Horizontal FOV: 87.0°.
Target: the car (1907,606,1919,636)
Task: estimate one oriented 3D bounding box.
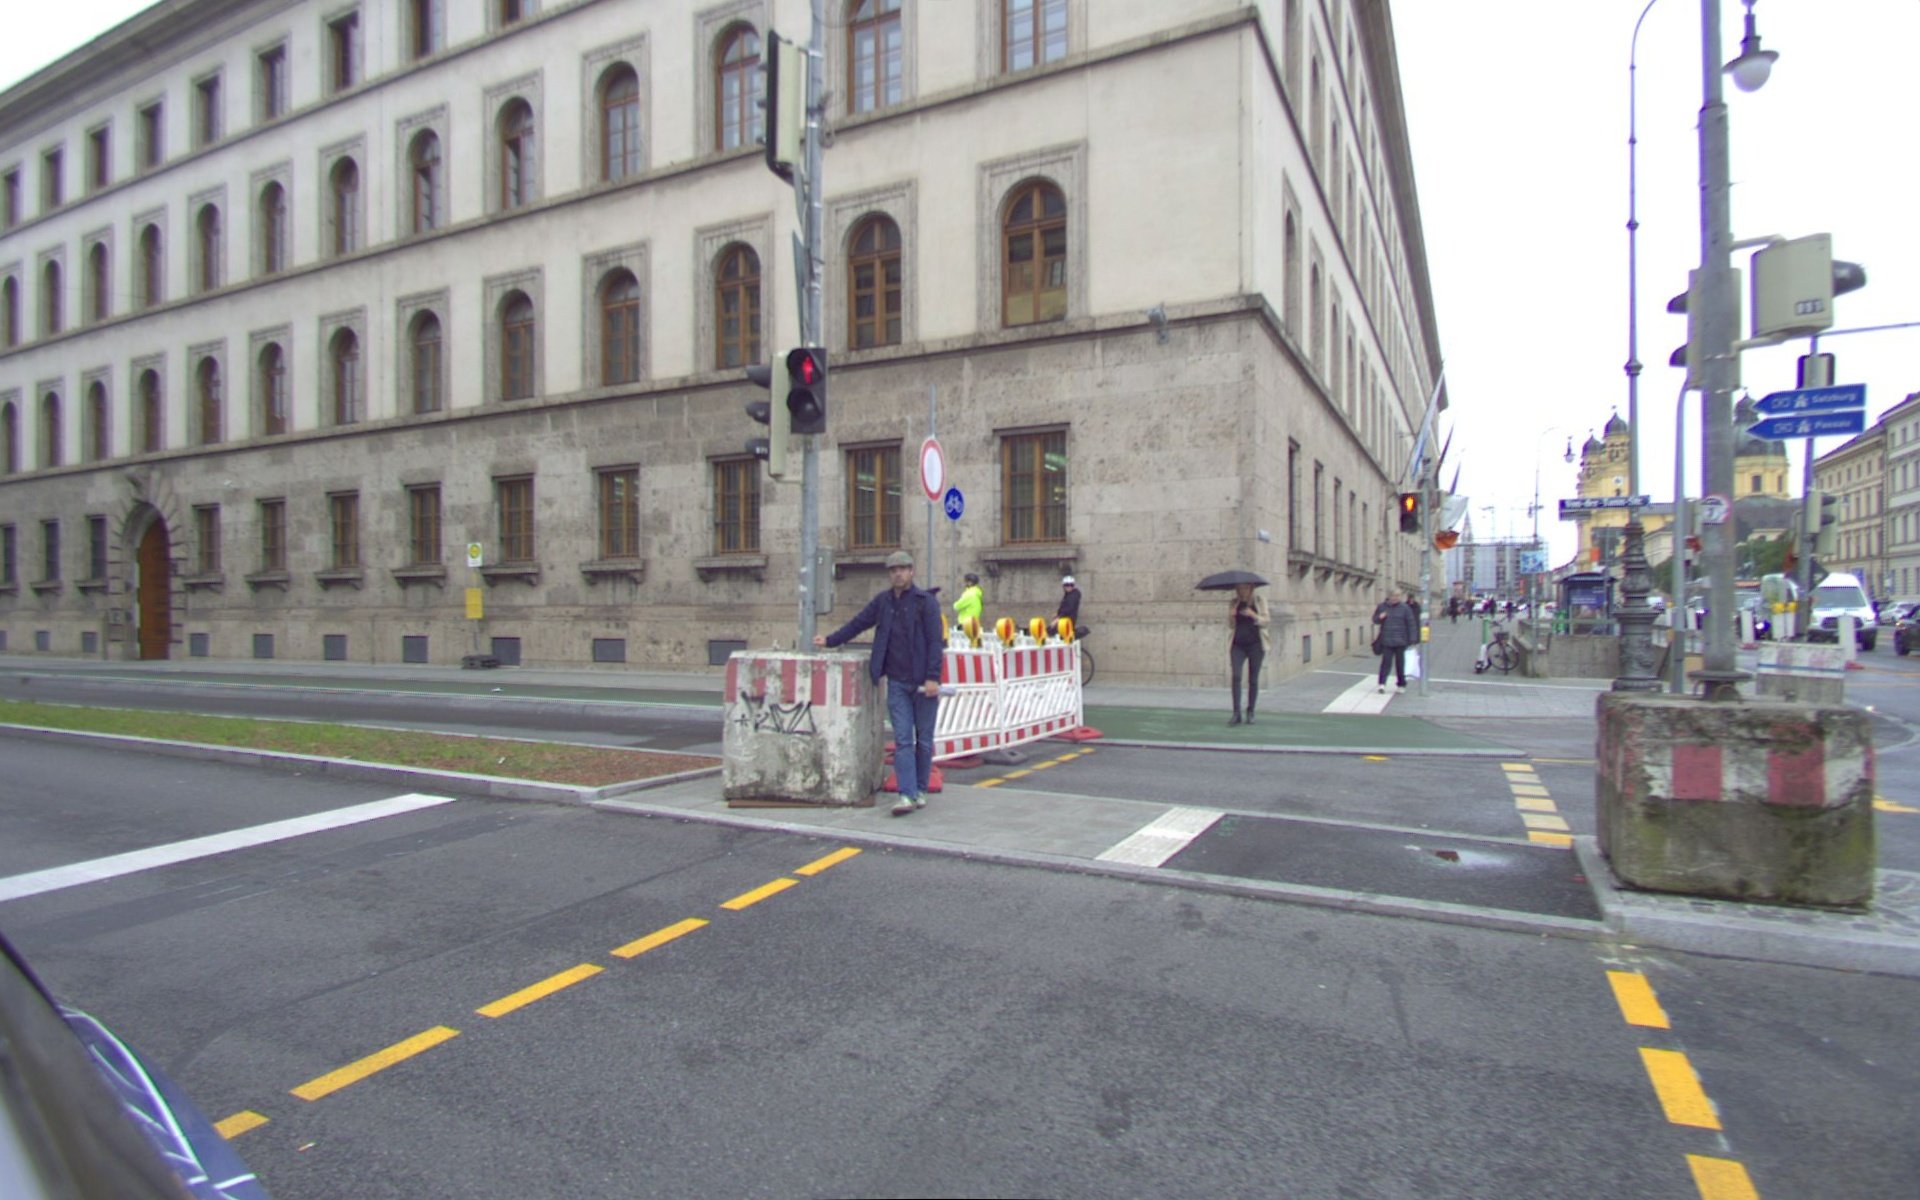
[{"bbox_3d":[55.855,1.189,57.575,1.814,1.733,3.963,-1,0,27],"label":"car"}]

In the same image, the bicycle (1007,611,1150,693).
[{"bbox_3d":[1.916,0.822,16.542,2.192,1.252,0.781,-1,1,32],"label":"bicycle"}]

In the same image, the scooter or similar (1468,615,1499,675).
[{"bbox_3d":[11.242,0.940,21.772,0.379,1.153,1.975,-1,1,21],"label":"scooter or similar"}]

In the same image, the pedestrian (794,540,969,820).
[{"bbox_3d":[-0.520,0.508,6.752,1.034,1.756,0.511,-1,0,18],"label":"pedestrian"}]

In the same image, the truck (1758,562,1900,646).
[{"bbox_3d":[28.424,0.124,33.359,2.105,2.499,5.808,-1,0,26],"label":"truck"}]

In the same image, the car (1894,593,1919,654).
[{"bbox_3d":[26.252,0.635,26.294,1.792,1.606,3.965,-1,1,26],"label":"car"}]

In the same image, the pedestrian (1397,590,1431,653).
[{"bbox_3d":[12.419,0.570,27.693,0.736,1.667,0.719,2,1,30],"label":"pedestrian"}]

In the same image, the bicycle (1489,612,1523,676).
[{"bbox_3d":[11.662,0.909,21.631,0.379,1.252,1.975,-1,1,21],"label":"bicycle"}]

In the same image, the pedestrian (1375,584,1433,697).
[{"bbox_3d":[6.840,0.600,15.589,0.735,1.667,0.720,2,1,25],"label":"pedestrian"}]

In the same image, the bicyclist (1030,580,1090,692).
[{"bbox_3d":[1.656,0.568,16.686,0.686,1.789,0.792,-1,1,31],"label":"bicyclist"}]

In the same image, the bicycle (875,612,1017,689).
[{"bbox_3d":[-0.265,0.853,17.659,2.441,1.252,0.781,-1,1,32],"label":"bicycle"}]

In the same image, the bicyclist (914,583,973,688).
[{"bbox_3d":[-0.277,0.600,17.660,0.686,1.762,0.792,-1,1,31],"label":"bicyclist"}]

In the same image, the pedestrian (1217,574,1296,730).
[{"bbox_3d":[3.551,0.588,12.094,0.736,1.785,0.838,-1,1,28],"label":"pedestrian"}]
